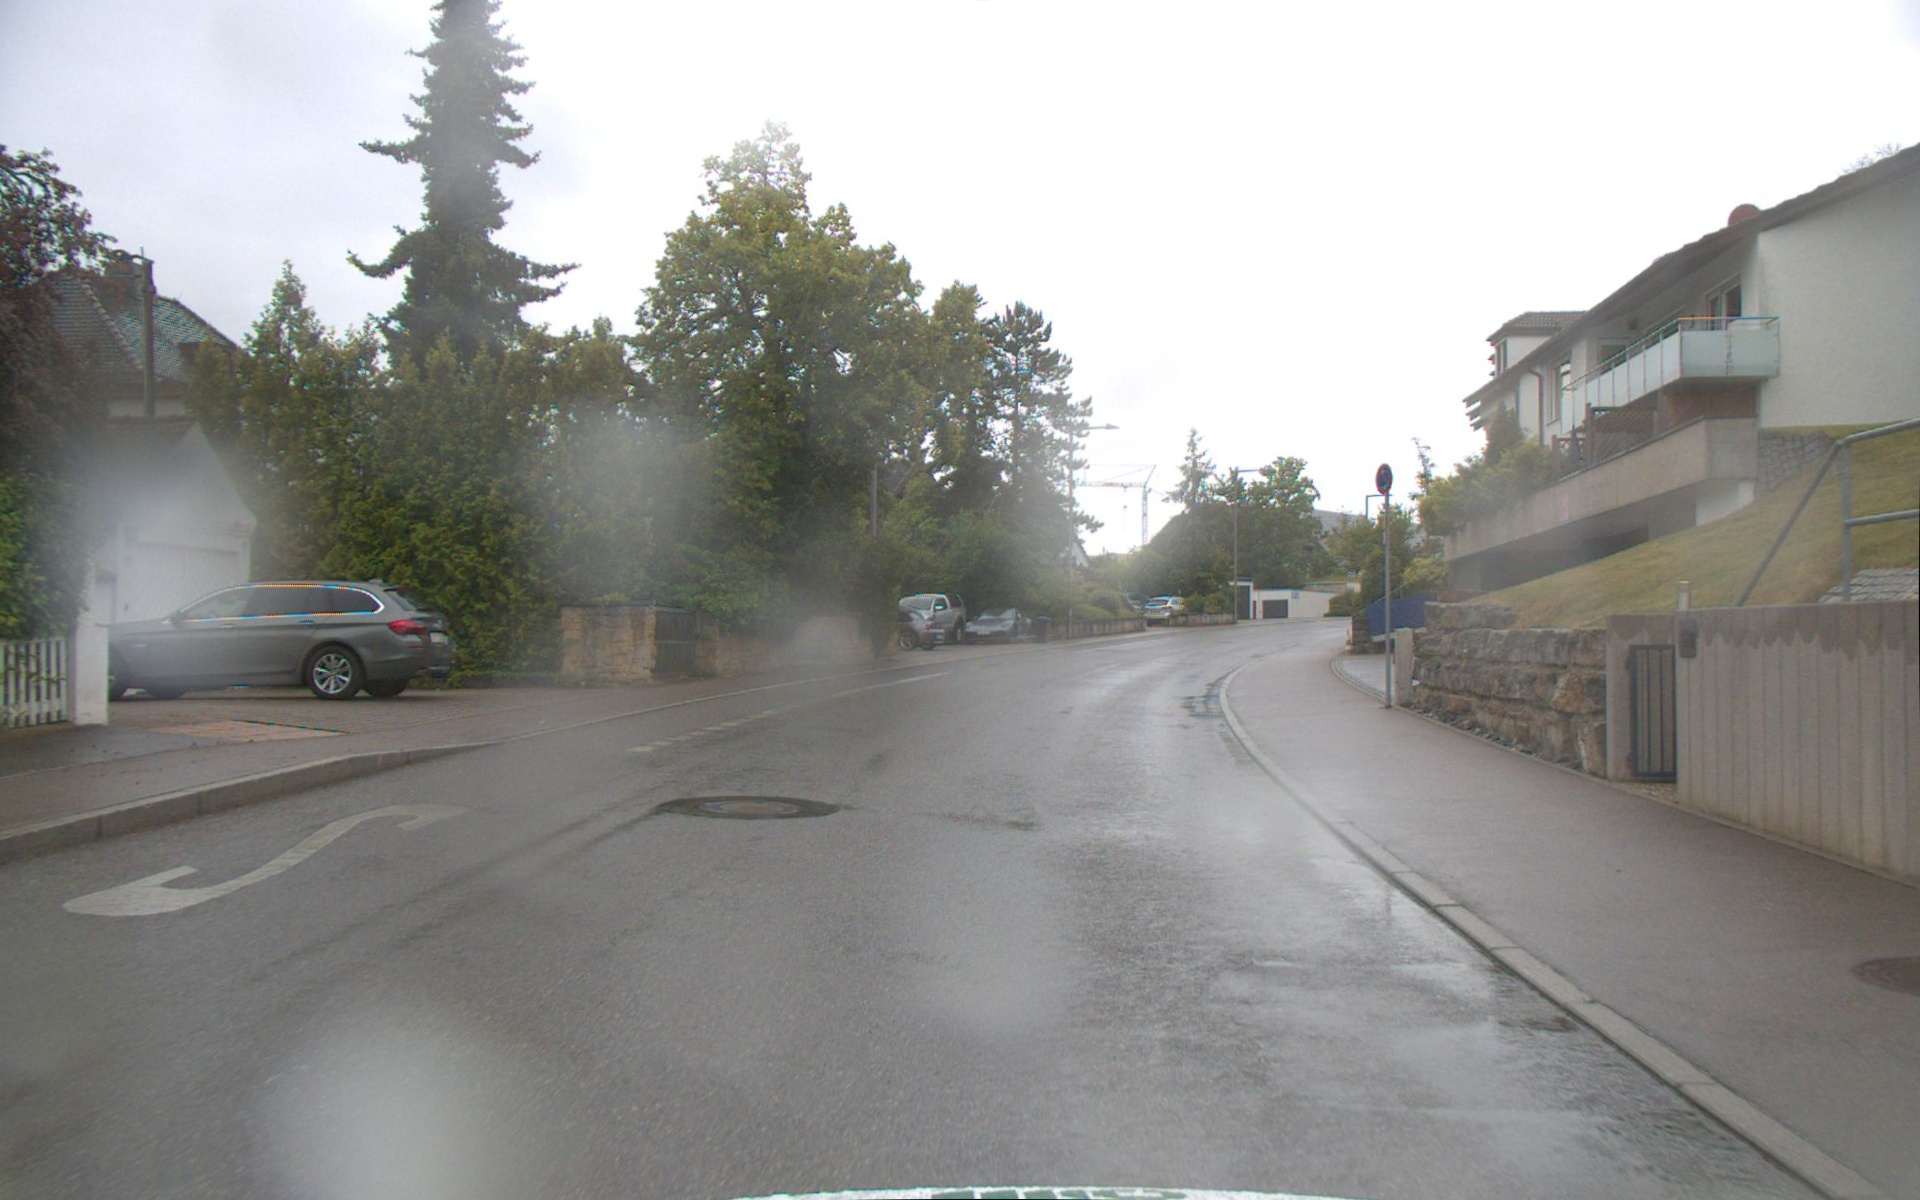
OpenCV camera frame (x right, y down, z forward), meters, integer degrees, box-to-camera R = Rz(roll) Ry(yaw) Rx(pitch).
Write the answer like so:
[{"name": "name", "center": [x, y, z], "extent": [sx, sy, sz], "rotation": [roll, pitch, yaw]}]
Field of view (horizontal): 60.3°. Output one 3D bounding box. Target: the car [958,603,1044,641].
[{"name": "car", "center": [1.563, 0.795, 60.866], "extent": [1.952, 1.330, 4.435], "rotation": [-1, 0, 18]}]

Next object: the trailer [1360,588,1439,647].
[{"name": "trailer", "center": [13.526, 0.539, 50.936], "extent": [2.304, 1.778, 2.001], "rotation": [0, 0, 15]}]

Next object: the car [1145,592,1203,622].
[{"name": "car", "center": [11.413, 0.365, 88.029], "extent": [1.702, 1.578, 3.992], "rotation": [-1, 0, 30]}]

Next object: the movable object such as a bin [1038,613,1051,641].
[{"name": "movable object such as a bin", "center": [3.058, 0.981, 59.725], "extent": [0.362, 1.005, 0.559], "rotation": [-1, 0, 15]}]

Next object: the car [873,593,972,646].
[{"name": "car", "center": [-1.308, 0.685, 61.095], "extent": [1.952, 1.876, 5.481], "rotation": [0, 0, 18]}]

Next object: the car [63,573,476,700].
[{"name": "car", "center": [-8.647, 0.443, 21.003], "extent": [4.448, 1.501, 1.839], "rotation": [0, 0, -1]}]

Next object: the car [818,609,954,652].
[{"name": "car", "center": [-2.341, 0.940, 52.390], "extent": [3.905, 1.294, 1.873], "rotation": [0, 0, 22]}]
